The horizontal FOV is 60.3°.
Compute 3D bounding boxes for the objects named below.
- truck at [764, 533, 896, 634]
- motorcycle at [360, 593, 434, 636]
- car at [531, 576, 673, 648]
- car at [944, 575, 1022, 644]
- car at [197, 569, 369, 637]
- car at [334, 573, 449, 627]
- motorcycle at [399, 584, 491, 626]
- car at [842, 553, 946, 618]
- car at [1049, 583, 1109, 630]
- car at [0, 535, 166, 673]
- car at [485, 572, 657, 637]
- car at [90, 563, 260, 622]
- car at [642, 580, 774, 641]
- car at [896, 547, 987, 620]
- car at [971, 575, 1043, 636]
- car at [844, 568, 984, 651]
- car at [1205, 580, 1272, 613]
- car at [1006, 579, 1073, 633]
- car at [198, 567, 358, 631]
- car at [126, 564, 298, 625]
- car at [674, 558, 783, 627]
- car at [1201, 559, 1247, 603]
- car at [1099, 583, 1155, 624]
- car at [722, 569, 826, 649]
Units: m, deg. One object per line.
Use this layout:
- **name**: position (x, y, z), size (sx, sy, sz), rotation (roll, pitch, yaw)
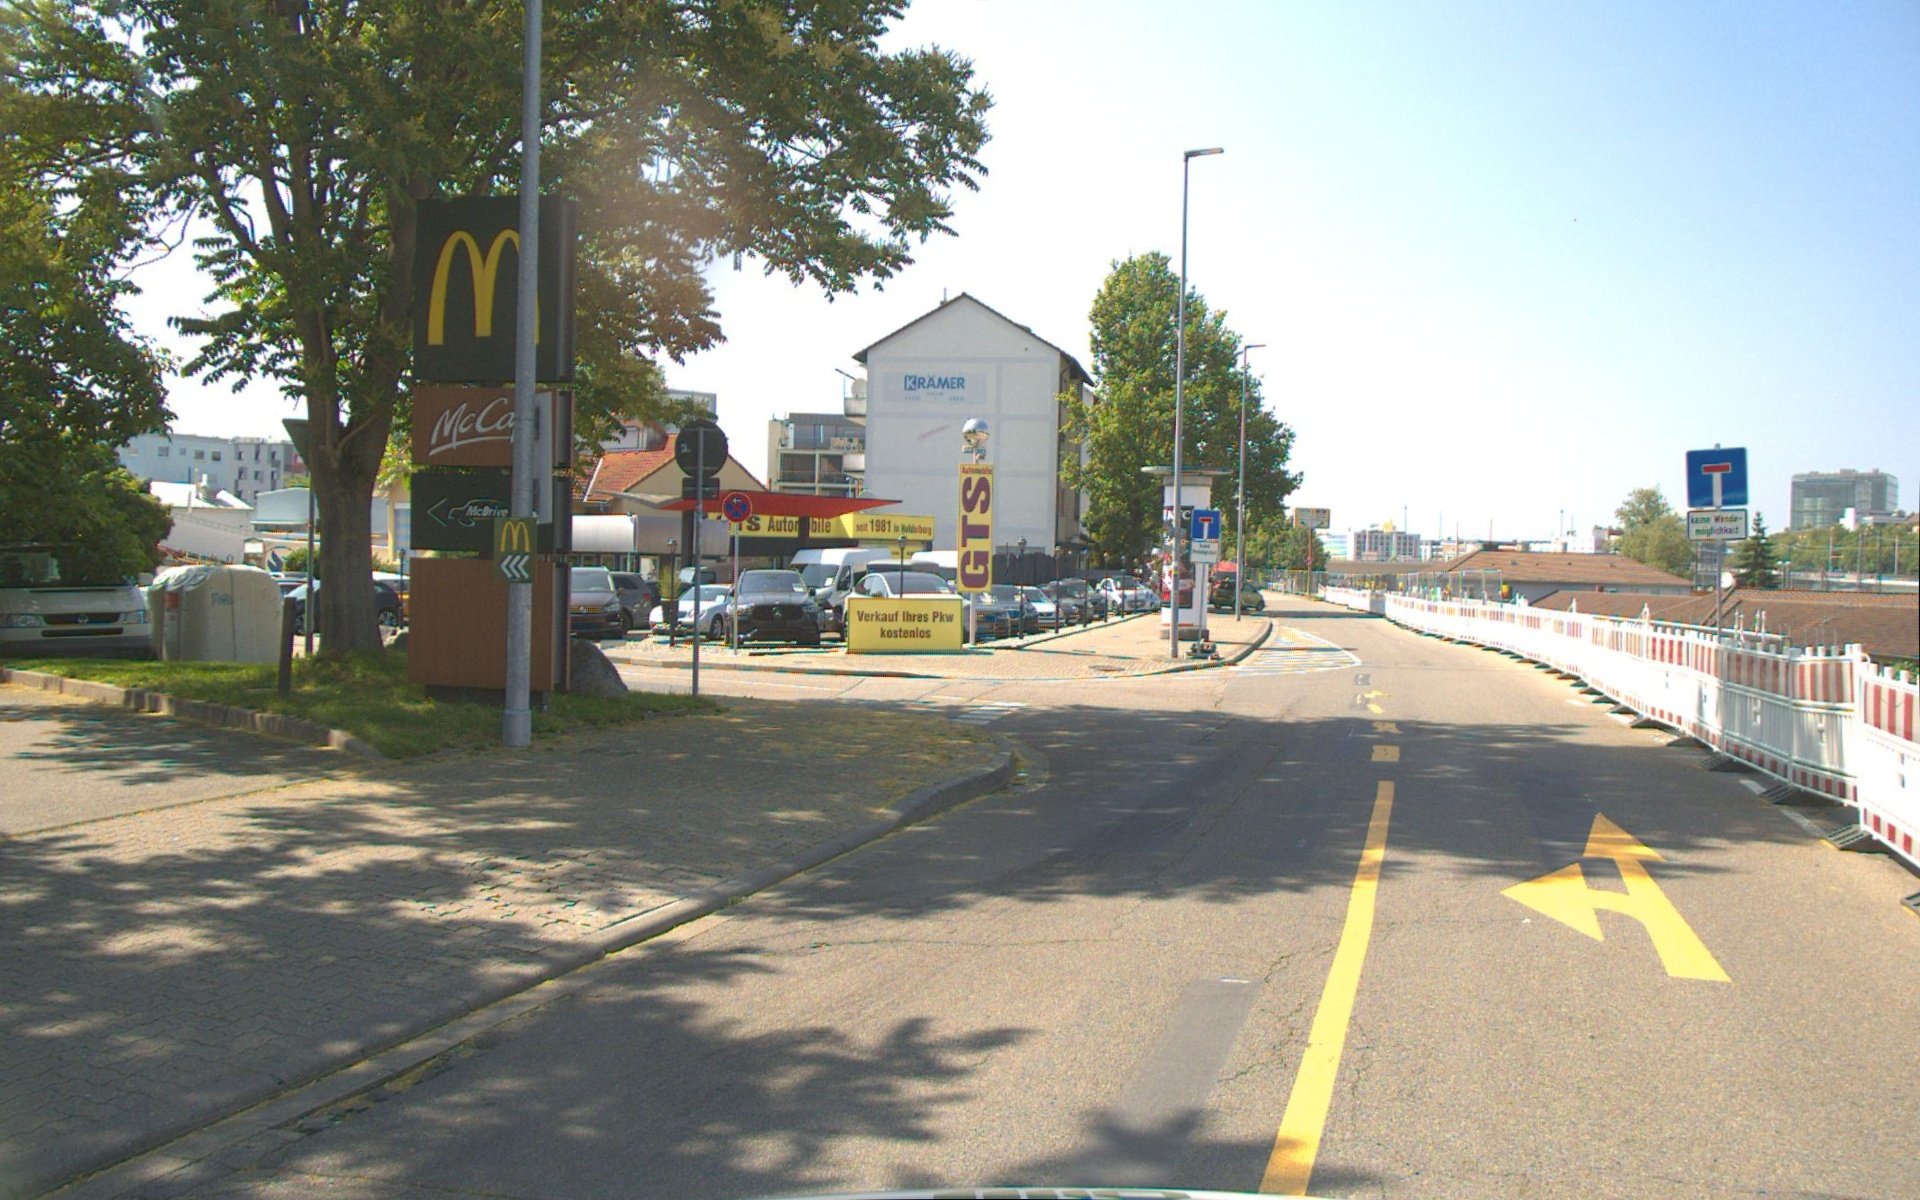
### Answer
- **truck**: position (-4.067, -0.514, 53.007), size (2.221, 2.954, 5.947), rotation (3, 1, 15)
- **motorcycle**: position (-16.403, 0.414, 48.207), size (1.854, 1.179, 0.779), rotation (2, 0, -37)
- **car**: position (-8.355, 0.272, 38.908), size (1.750, 1.536, 4.003), rotation (2, 0, 11)
- **car**: position (0.548, 0.210, 42.740), size (1.819, 1.657, 3.999), rotation (2, 1, -2)
- **car**: position (-18.955, 0.104, 46.409), size (1.964, 1.735, 3.977), rotation (2, 0, 41)
- **car**: position (-18.765, -0.016, 54.497), size (3.932, 1.612, 1.986), rotation (2, 0, 44)
- **motorcycle**: position (-16.073, 0.170, 51.731), size (0.979, 1.248, 2.710), rotation (2, 0, 34)
- **car**: position (-1.914, -0.423, 49.859), size (1.837, 1.768, 4.726), rotation (3, 1, 14)
- **car**: position (4.453, 0.216, 62.294), size (1.819, 1.657, 3.999), rotation (2, 1, -2)
- **car**: position (-12.190, -0.020, 22.062), size (1.937, 1.610, 4.966), rotation (2, 1, -37)
- **car**: position (-10.651, 0.129, 45.289), size (4.266, 1.612, 1.984), rotation (2, 0, -25)
- **car**: position (-25.719, -0.230, 54.335), size (1.959, 1.756, 4.638), rotation (2, -1, 34)
- **car**: position (-6.729, 0.298, 44.577), size (1.751, 1.513, 4.000), rotation (2, 0, 20)
- **car**: position (-0.569, -0.550, 55.757), size (2.090, 2.324, 4.715), rotation (2, 1, 11)
- **car**: position (1.329, 0.120, 48.332), size (1.819, 1.657, 3.999), rotation (2, 1, -2)
- **car**: position (-1.130, 0.191, 38.102), size (1.965, 1.755, 3.975), rotation (2, 0, -21)
- **car**: position (15.088, -0.182, 89.619), size (3.233, 1.666, 1.710), rotation (2, 0, -29)
- **car**: position (2.547, 0.158, 53.806), size (1.819, 1.657, 3.999), rotation (2, 1, -2)
- **car**: position (-20.332, -0.004, 49.434), size (1.959, 1.756, 3.987), rotation (2, -1, 34)
- **car**: position (-23.847, -0.153, 52.866), size (1.959, 1.756, 4.638), rotation (2, -1, 34)
- **car**: position (-7.374, -0.213, 53.161), size (1.951, 2.049, 4.499), rotation (2, 0, 13)
- **car**: position (16.572, -1.157, 103.610), size (2.484, 2.564, 5.122), rotation (2, 0, 13)
- **car**: position (7.038, 0.126, 69.935), size (1.819, 1.657, 3.999), rotation (2, 1, -2)
- **car**: position (-4.249, 0.179, 37.145), size (2.009, 1.622, 4.413), rotation (2, 0, -10)
